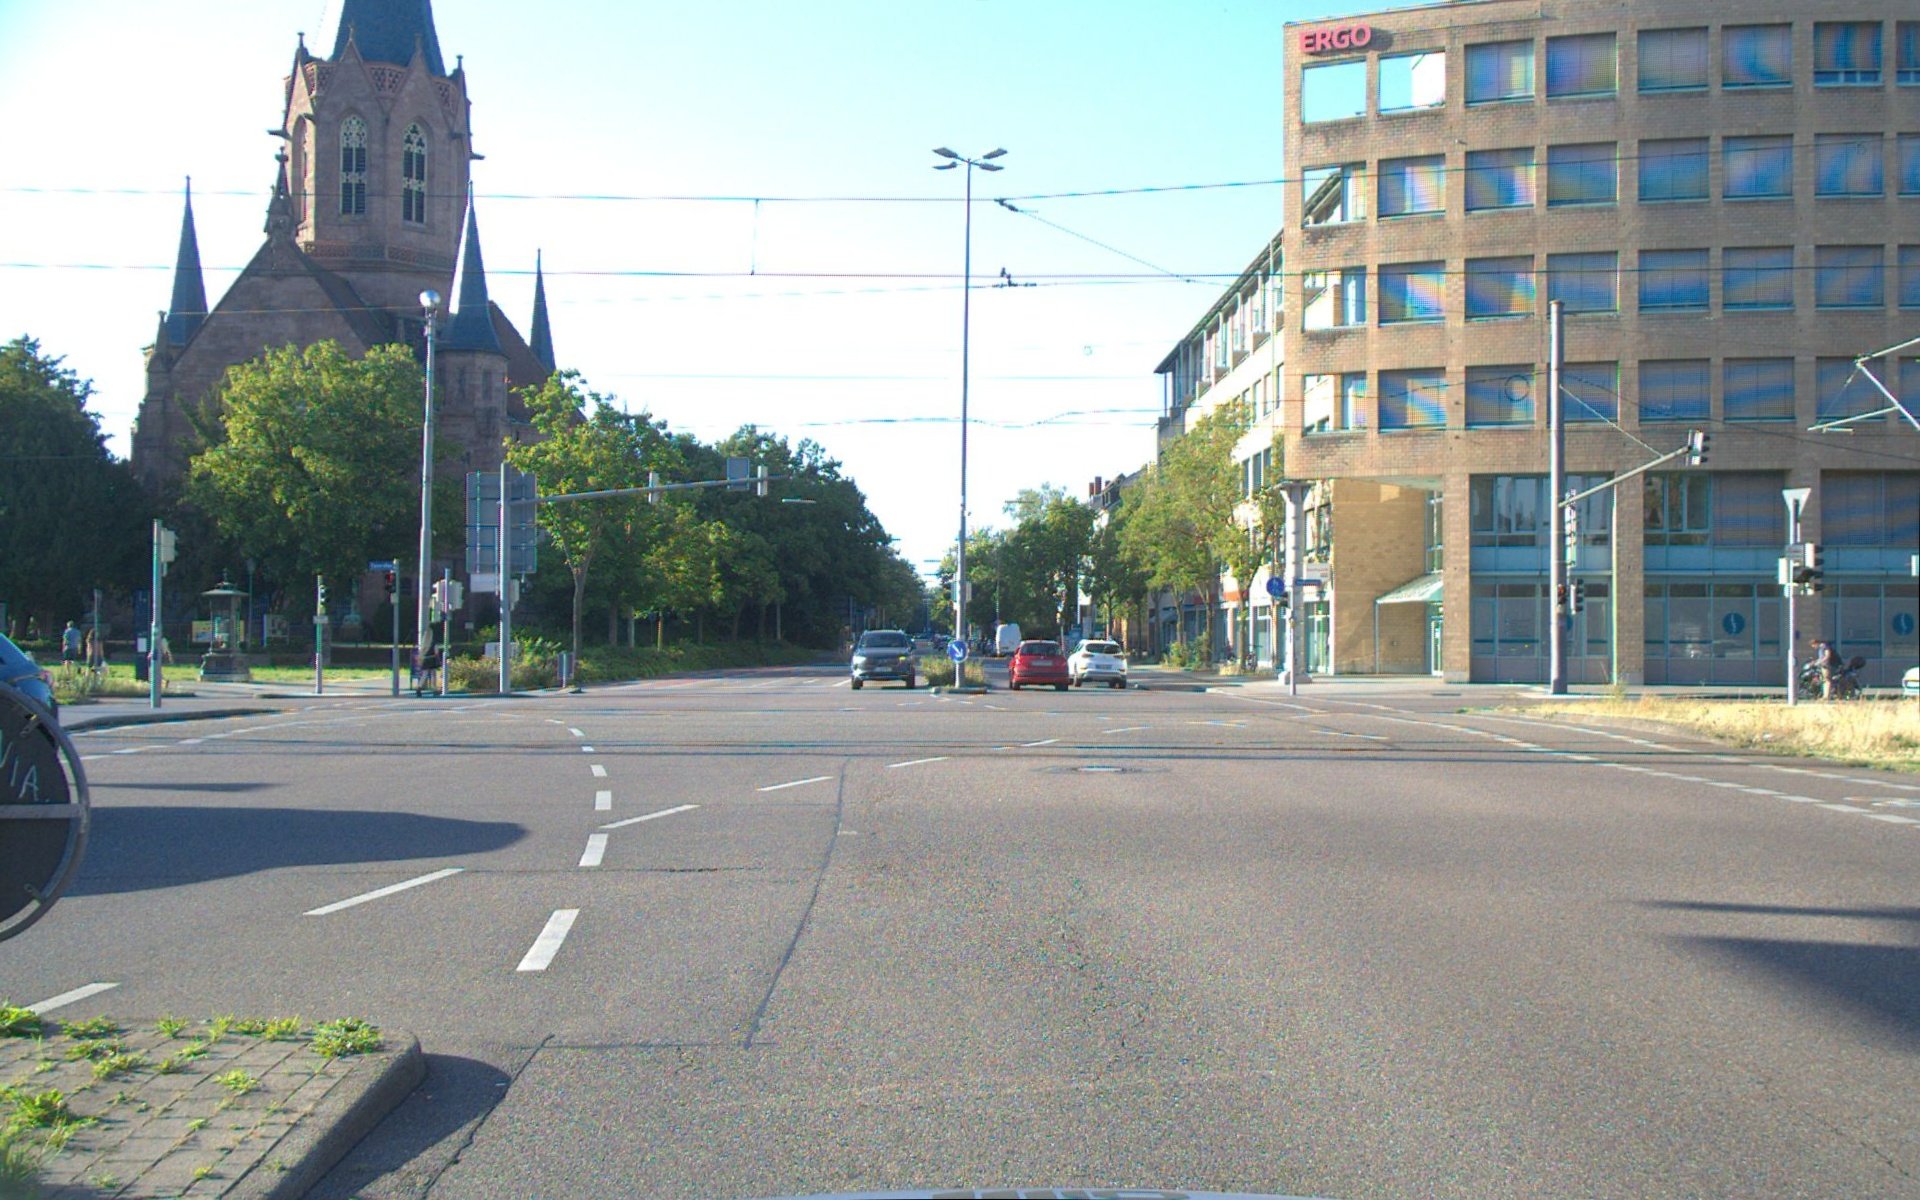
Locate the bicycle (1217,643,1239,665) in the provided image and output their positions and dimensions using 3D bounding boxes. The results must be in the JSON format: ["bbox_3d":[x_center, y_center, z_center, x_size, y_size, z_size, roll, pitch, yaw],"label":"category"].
[{"bbox_3d":[12.240,2.464,75.605,0.633,1.012,2.080,0,-1,-1],"label":"bicycle"}]

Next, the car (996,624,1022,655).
[{"bbox_3d":[4.005,3.212,135.231,1.953,2.483,3.999,1,-1,0],"label":"car"}]

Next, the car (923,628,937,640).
[{"bbox_3d":[-4.405,5.032,241.930,1.848,1.700,3.999,1,-1,0],"label":"car"}]

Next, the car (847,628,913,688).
[{"bbox_3d":[-2.444,1.802,51.289,1.953,1.754,5.028,0,-2,-2],"label":"car"}]

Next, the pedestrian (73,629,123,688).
[{"bbox_3d":[-25.990,1.765,49.896,0.992,1.726,0.844,1,-1,20],"label":"pedestrian"}]

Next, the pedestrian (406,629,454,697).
[{"bbox_3d":[-13.907,1.647,43.409,0.945,1.770,0.812,0,-2,1],"label":"pedestrian"}]

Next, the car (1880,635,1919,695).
[{"bbox_3d":[26.289,1.670,42.626,4.079,1.518,1.994,0,-2,-3],"label":"car"}]

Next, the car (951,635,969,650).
[{"bbox_3d":[-0.013,3.865,149.691,1.562,1.289,3.266,0,-1,0],"label":"car"}]

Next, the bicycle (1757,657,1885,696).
[{"bbox_3d":[23.511,2.081,45.202,2.901,1.018,1.153,0,-1,-3],"label":"bicycle"}]

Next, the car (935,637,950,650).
[{"bbox_3d":[-1.914,4.716,178.867,1.562,1.289,3.266,0,-1,0],"label":"car"}]

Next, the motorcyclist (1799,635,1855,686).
[{"bbox_3d":[24.942,1.732,47.608,1.043,1.461,1.031,0,-2,-1],"label":"motorcyclist"}]

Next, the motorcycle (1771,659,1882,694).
[{"bbox_3d":[24.926,2.186,47.595,2.663,0.981,1.031,0,-1,-2],"label":"motorcycle"}]

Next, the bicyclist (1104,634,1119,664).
[{"bbox_3d":[7.203,2.334,78.437,0.580,1.393,0.929,2,-1,0],"label":"bicyclist"}]

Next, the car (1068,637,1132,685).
[{"bbox_3d":[5.009,2.177,59.743,1.877,1.635,4.268,1,-1,0],"label":"car"}]

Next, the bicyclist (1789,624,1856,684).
[{"bbox_3d":[23.558,1.472,45.208,1.198,1.599,1.153,0,-1,-2],"label":"bicyclist"}]

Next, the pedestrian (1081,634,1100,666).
[{"bbox_3d":[8.296,3.162,105.414,1.085,2.011,1.161,0,-2,-1],"label":"pedestrian"}]

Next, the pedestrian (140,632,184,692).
[{"bbox_3d":[-23.503,1.820,48.713,0.874,1.726,0.710,1,-1,20],"label":"pedestrian"}]

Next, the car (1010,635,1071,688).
[{"bbox_3d":[2.411,1.848,50.312,1.636,1.488,3.999,1,-1,0],"label":"car"}]

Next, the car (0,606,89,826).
[{"bbox_3d":[-7.835,0.853,11.176,1.758,1.593,4.146,0,0,-1],"label":"car"}]

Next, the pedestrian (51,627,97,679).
[{"bbox_3d":[-29.749,1.772,55.530,0.992,1.726,0.845,1,-1,18],"label":"pedestrian"}]

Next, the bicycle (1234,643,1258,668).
[{"bbox_3d":[12.303,2.377,71.077,0.633,1.012,2.080,0,-1,-1],"label":"bicycle"}]
